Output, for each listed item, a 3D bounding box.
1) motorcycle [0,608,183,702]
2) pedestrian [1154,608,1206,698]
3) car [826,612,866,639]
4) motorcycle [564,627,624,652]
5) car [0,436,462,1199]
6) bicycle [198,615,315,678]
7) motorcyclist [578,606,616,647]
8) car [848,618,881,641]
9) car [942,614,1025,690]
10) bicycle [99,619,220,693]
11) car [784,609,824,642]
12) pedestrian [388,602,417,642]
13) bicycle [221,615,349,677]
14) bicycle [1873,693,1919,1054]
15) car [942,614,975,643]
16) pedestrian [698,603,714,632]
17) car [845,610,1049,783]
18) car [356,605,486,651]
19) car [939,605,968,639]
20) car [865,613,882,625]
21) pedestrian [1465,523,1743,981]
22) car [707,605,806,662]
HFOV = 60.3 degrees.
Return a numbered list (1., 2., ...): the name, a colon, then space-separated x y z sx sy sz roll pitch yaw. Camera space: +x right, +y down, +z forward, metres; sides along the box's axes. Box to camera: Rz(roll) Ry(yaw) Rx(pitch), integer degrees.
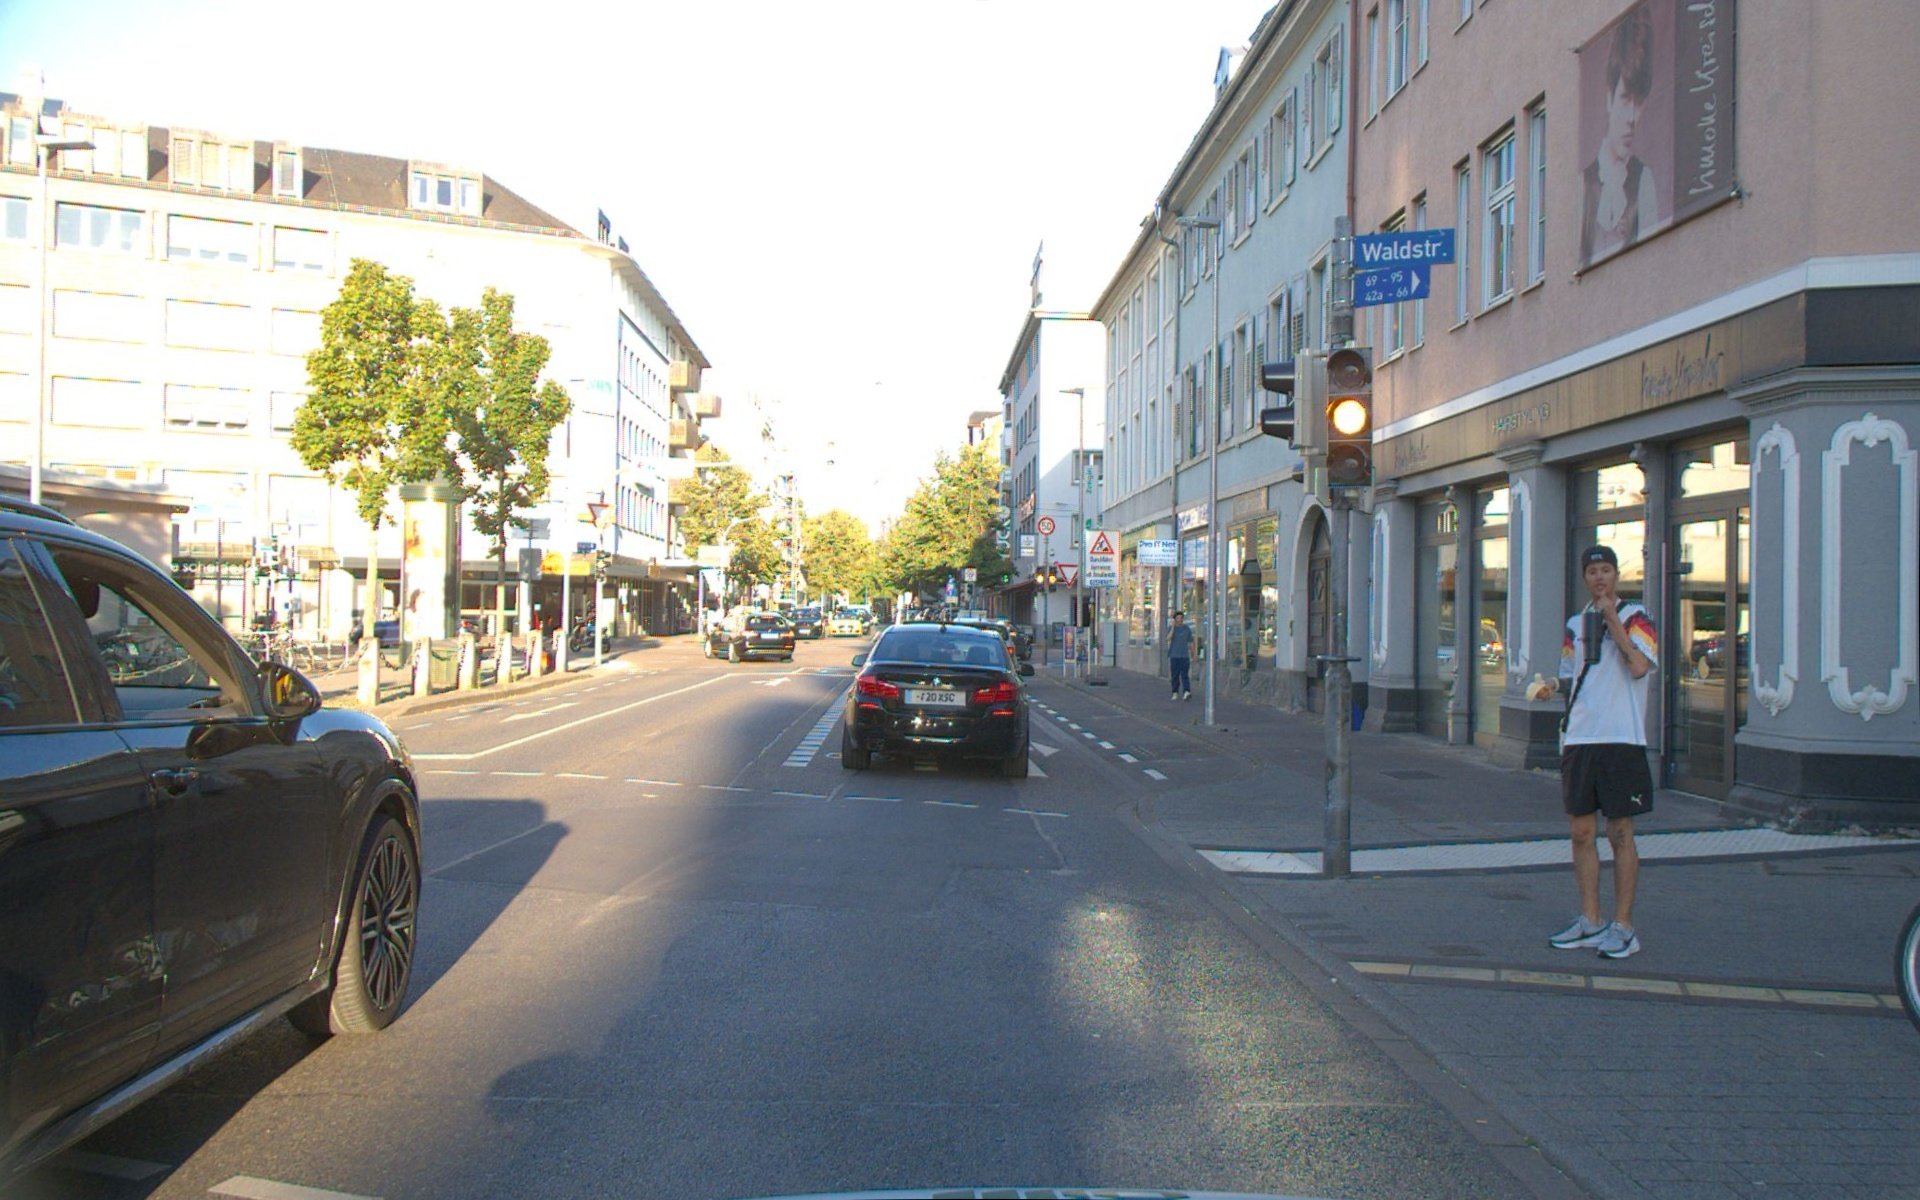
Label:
1. motorcycle: -13.813 0.865 26.243 2.528 1.455 0.868 0 -1 -1
2. pedestrian: 4.153 0.994 31.247 0.807 1.670 0.871 1 -1 -4
3. car: -6.414 1.400 92.628 1.956 1.467 3.993 1 -1 -8
4. motorcycle: -12.293 1.313 55.598 1.987 0.794 0.663 1 -1 27
5. car: -2.772 0.567 3.939 1.909 1.744 4.560 0 0 -2
6. bicycle: -14.436 0.946 33.985 1.964 1.278 0.949 0 -1 -1
7. motorcyclist: -12.199 0.896 55.592 0.972 1.343 0.767 1 -1 29
8. car: -5.748 1.770 99.417 1.701 1.315 3.993 1 -1 -8
9. car: 0.496 1.154 38.184 1.795 1.603 4.099 1 0 -1
10. bicycle: -14.243 0.989 29.439 1.816 1.278 0.632 0 -1 -1
11. car: -8.221 1.323 86.993 1.956 1.646 3.993 1 -1 -8
12. pedestrian: -21.972 0.869 65.154 0.934 1.564 0.901 1 -1 -27
13. bicycle: -14.382 0.972 35.281 2.394 1.278 0.787 0 -1 -1
14. bicycle: 4.142 0.944 5.489 1.781 1.207 0.794 0 -1 7
15. car: -0.113 1.525 89.646 1.593 1.497 3.393 2 -1 -2
16. pedestrian: -15.184 1.044 98.792 0.807 1.706 0.871 1 -1 -3
17. car: -0.233 0.911 17.561 1.865 1.567 4.447 1 0 -3
18. car: -18.851 0.958 57.975 3.908 1.512 1.998 1 0 -4
19. car: -0.363 1.258 96.047 1.393 1.887 3.049 2 -1 -5
20. car: -9.840 2.192 188.143 1.701 1.315 3.993 1 -1 -8
21. pedestrian: 2.954 0.648 7.599 0.930 1.931 0.816 1 -1 -35
22. car: -6.186 0.983 49.911 1.847 1.623 4.418 1 0 -23
